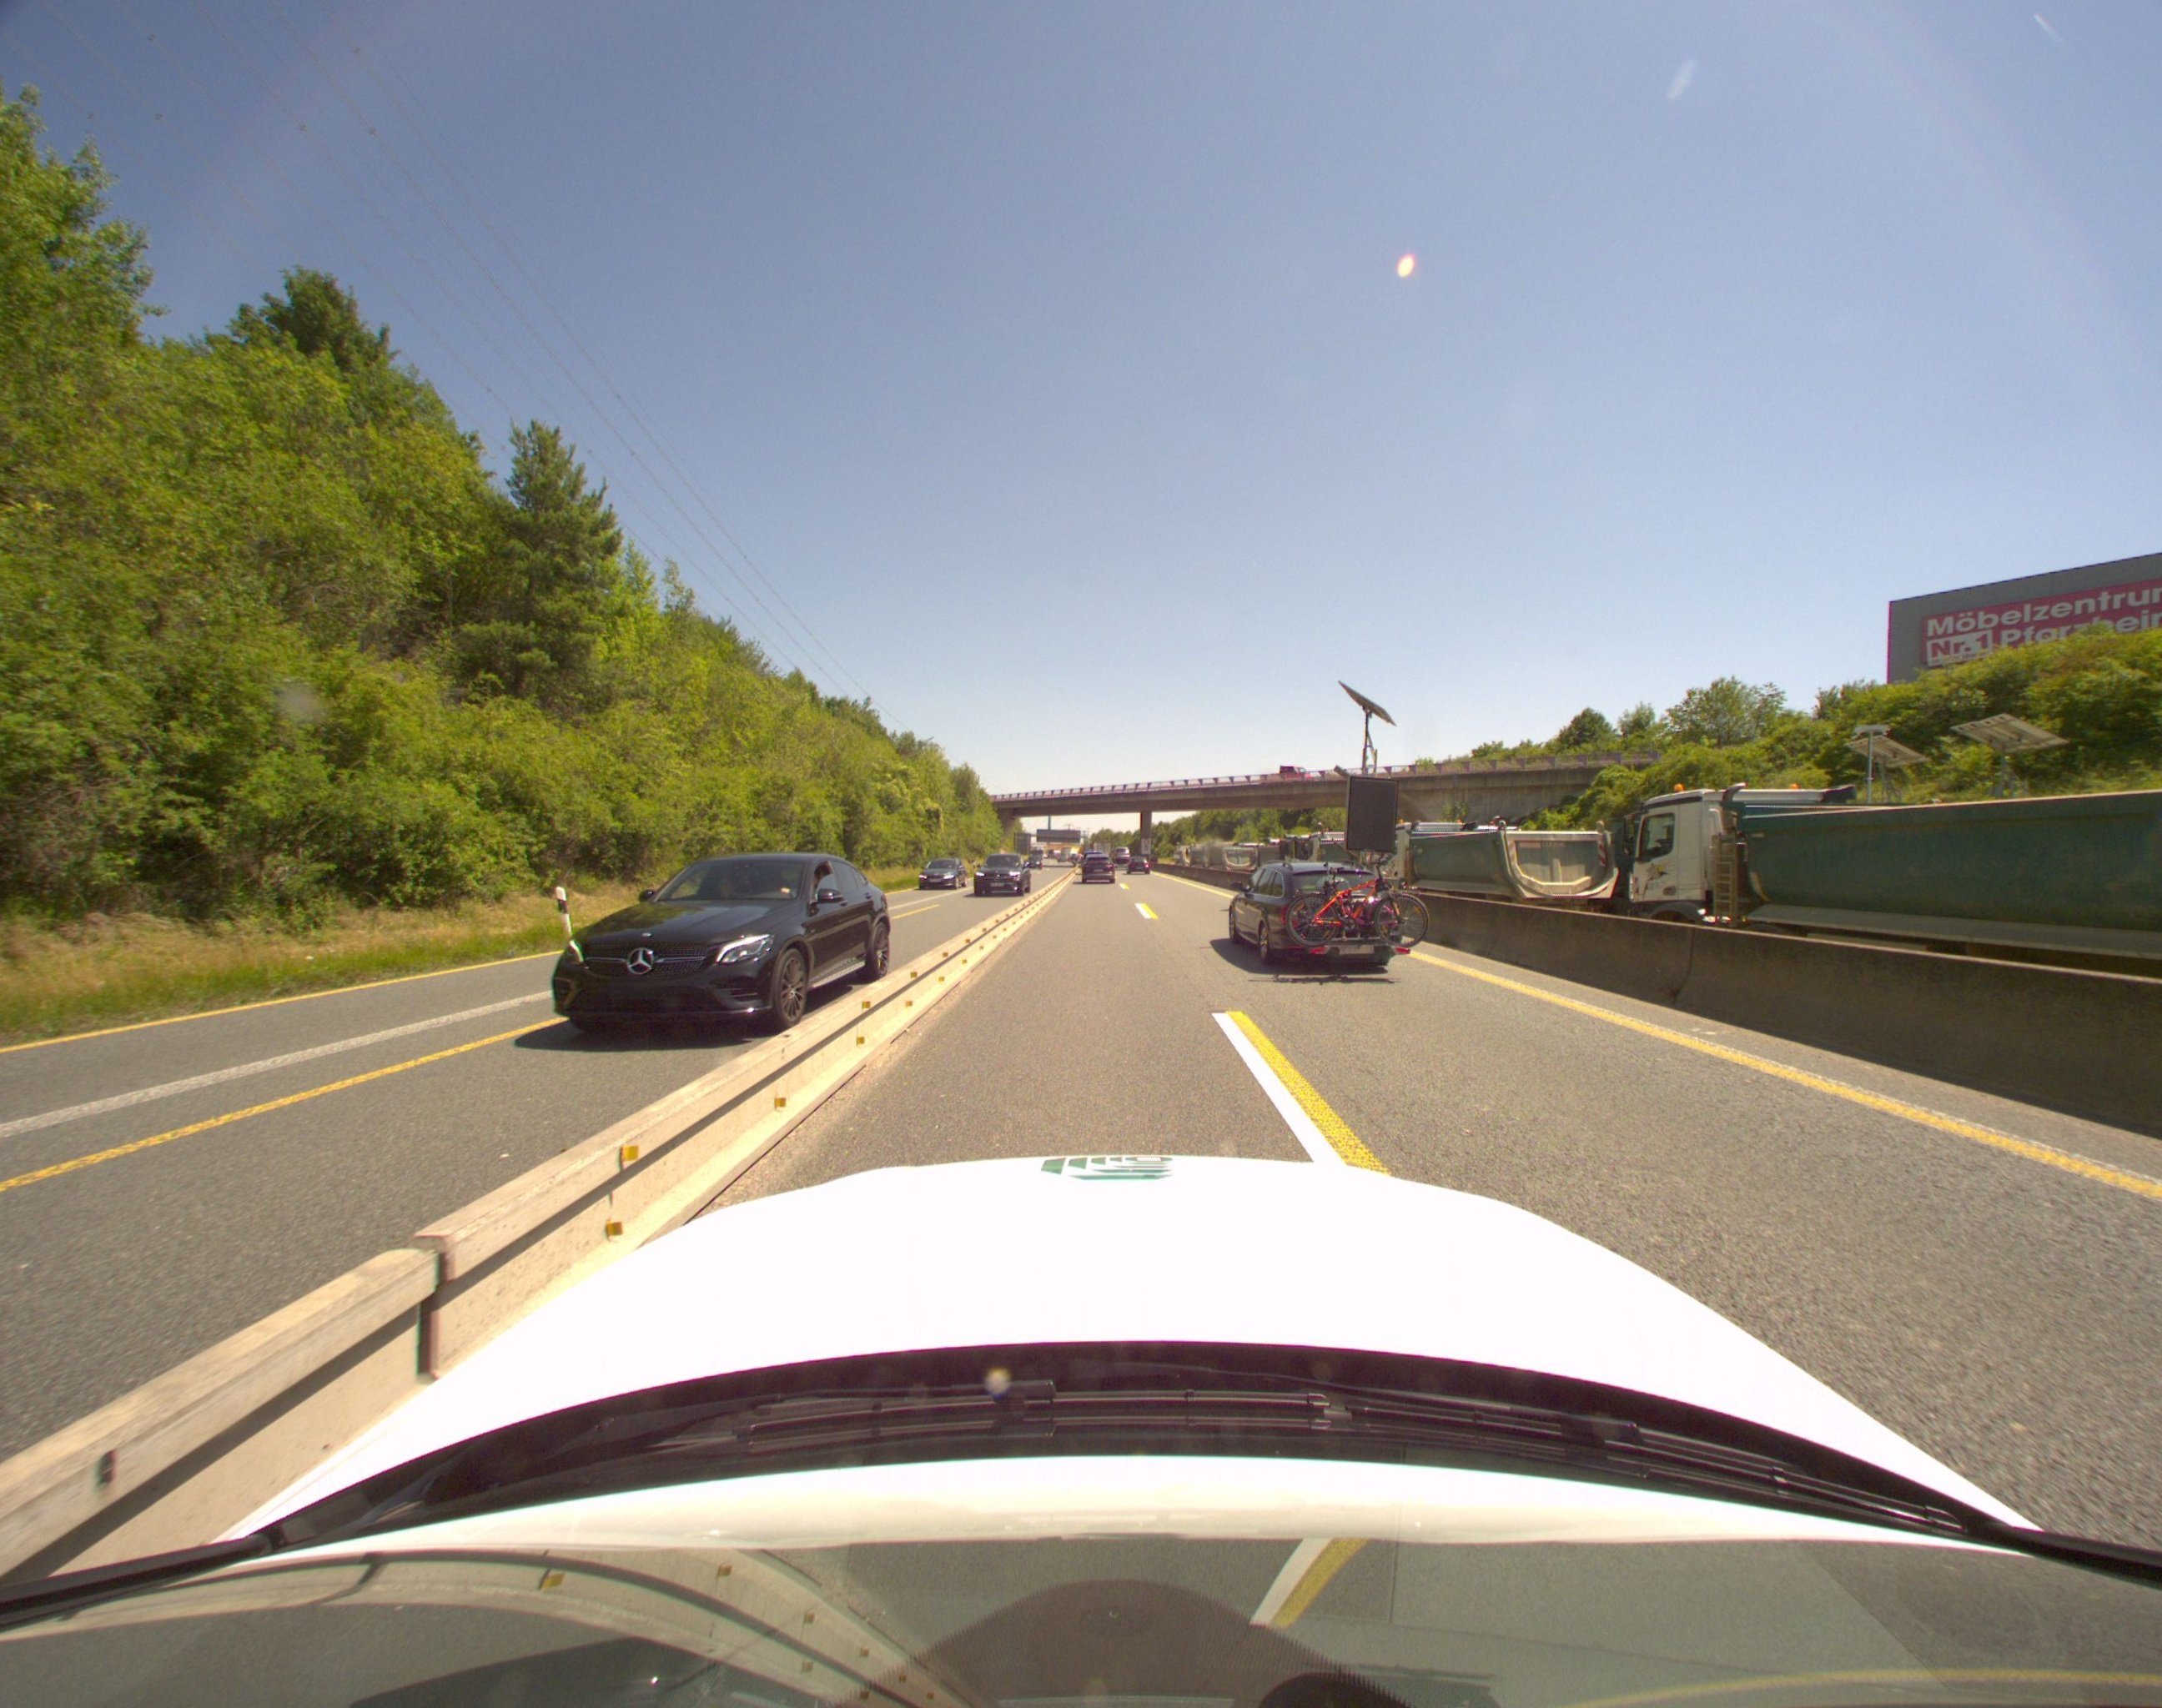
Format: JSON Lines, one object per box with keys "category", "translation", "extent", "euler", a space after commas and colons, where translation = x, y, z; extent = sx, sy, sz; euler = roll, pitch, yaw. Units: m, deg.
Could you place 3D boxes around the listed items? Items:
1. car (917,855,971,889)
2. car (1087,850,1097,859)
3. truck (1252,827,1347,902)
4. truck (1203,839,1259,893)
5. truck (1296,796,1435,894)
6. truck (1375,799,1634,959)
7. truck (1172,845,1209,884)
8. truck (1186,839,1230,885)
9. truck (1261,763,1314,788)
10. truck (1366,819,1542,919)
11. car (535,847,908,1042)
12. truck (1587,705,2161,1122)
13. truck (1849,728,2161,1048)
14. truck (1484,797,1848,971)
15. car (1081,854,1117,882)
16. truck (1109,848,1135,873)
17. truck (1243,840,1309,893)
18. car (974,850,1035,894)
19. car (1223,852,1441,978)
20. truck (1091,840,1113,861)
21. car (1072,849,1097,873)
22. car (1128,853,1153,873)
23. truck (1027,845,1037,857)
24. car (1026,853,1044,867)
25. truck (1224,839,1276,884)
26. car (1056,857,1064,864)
{"category": "car", "translation": [-6.506, 0.804, 38.985], "extent": [1.717, 1.522, 4.186], "euler": [0, 0, 2]}
{"category": "car", "translation": [2.567, 0.176, 185.703], "extent": [1.895, 1.968, 4.270], "euler": [0, 0, -4]}
{"category": "truck", "translation": [11.444, 0.509, 43.614], "extent": [2.678, 3.557, 9.325], "euler": [0, 0, 0]}
{"category": "truck", "translation": [11.214, 0.872, 61.708], "extent": [2.678, 3.761, 9.326], "euler": [0, 0, 1]}
{"category": "truck", "translation": [11.554, -0.311, 34.200], "extent": [2.678, 3.557, 9.325], "euler": [0, 0, 0]}
{"category": "truck", "translation": [11.110, 0.570, 22.816], "extent": [2.677, 3.557, 9.411], "euler": [0, 0, 2]}
{"category": "truck", "translation": [11.416, 1.076, 85.705], "extent": [2.678, 3.843, 9.326], "euler": [0, 0, 1]}
{"category": "truck", "translation": [11.312, 0.672, 73.286], "extent": [2.678, 3.856, 9.326], "euler": [0, 0, 1]}
{"category": "truck", "translation": [21.635, -8.204, 85.639], "extent": [1.945, 2.066, 5.456], "euler": [1, -1, -35]}
{"category": "truck", "translation": [14.320, 0.509, 32.424], "extent": [2.678, 3.378, 9.602], "euler": [0, 0, 0]}
{"category": "car", "translation": [-3.355, 0.720, 8.803], "extent": [1.837, 1.533, 4.672], "euler": [0, 0, 1]}
{"category": "truck", "translation": [10.653, 0.512, 10.364], "extent": [2.677, 3.557, 9.605], "euler": [0, 0, 1]}
{"category": "truck", "translation": [13.340, 0.375, 8.023], "extent": [2.677, 3.557, 9.605], "euler": [0, 0, 1]}
{"category": "truck", "translation": [13.753, 0.594, 20.665], "extent": [2.677, 3.378, 9.608], "euler": [0, 0, 2]}
{"category": "car", "translation": [1.053, 0.774, 45.535], "extent": [1.892, 1.505, 4.278], "euler": [0, 0, 2]}
{"category": "truck", "translation": [4.343, 0.605, 86.945], "extent": [2.397, 2.558, 7.499], "euler": [0, 0, 0]}
{"category": "truck", "translation": [14.143, 0.856, 59.792], "extent": [2.678, 3.557, 9.325], "euler": [0, 0, 0]}
{"category": "car", "translation": [-2.979, 0.677, 32.502], "extent": [1.837, 1.610, 4.700], "euler": [1, 0, 1]}
{"category": "car", "translation": [3.395, 0.739, 12.112], "extent": [1.892, 1.490, 4.950], "euler": [0, -1, 2]}
{"category": "truck", "translation": [3.830, -0.596, 150.669], "extent": [3.286, 3.845, 10.096], "euler": [0, 0, -4]}
{"category": "car", "translation": [0.299, 0.561, 67.387], "extent": [1.892, 1.968, 4.278], "euler": [0, 0, 2]}
{"category": "car", "translation": [4.795, 0.752, 66.466], "extent": [1.892, 1.585, 4.278], "euler": [0, 0, 2]}
{"category": "truck", "translation": [-12.789, -0.804, 211.538], "extent": [2.503, 3.186, 10.096], "euler": [0, 0, -4]}
{"category": "car", "translation": [-5.265, 0.710, 93.660], "extent": [1.771, 1.577, 4.071], "euler": [0, 0, 2]}
{"category": "truck", "translation": [14.626, 0.623, 71.213], "extent": [2.678, 3.727, 9.325], "euler": [0, 0, 0]}
{"category": "car", "translation": [-4.530, 1.461, 176.201], "extent": [1.668, 1.393, 4.071], "euler": [0, -1, 1]}
